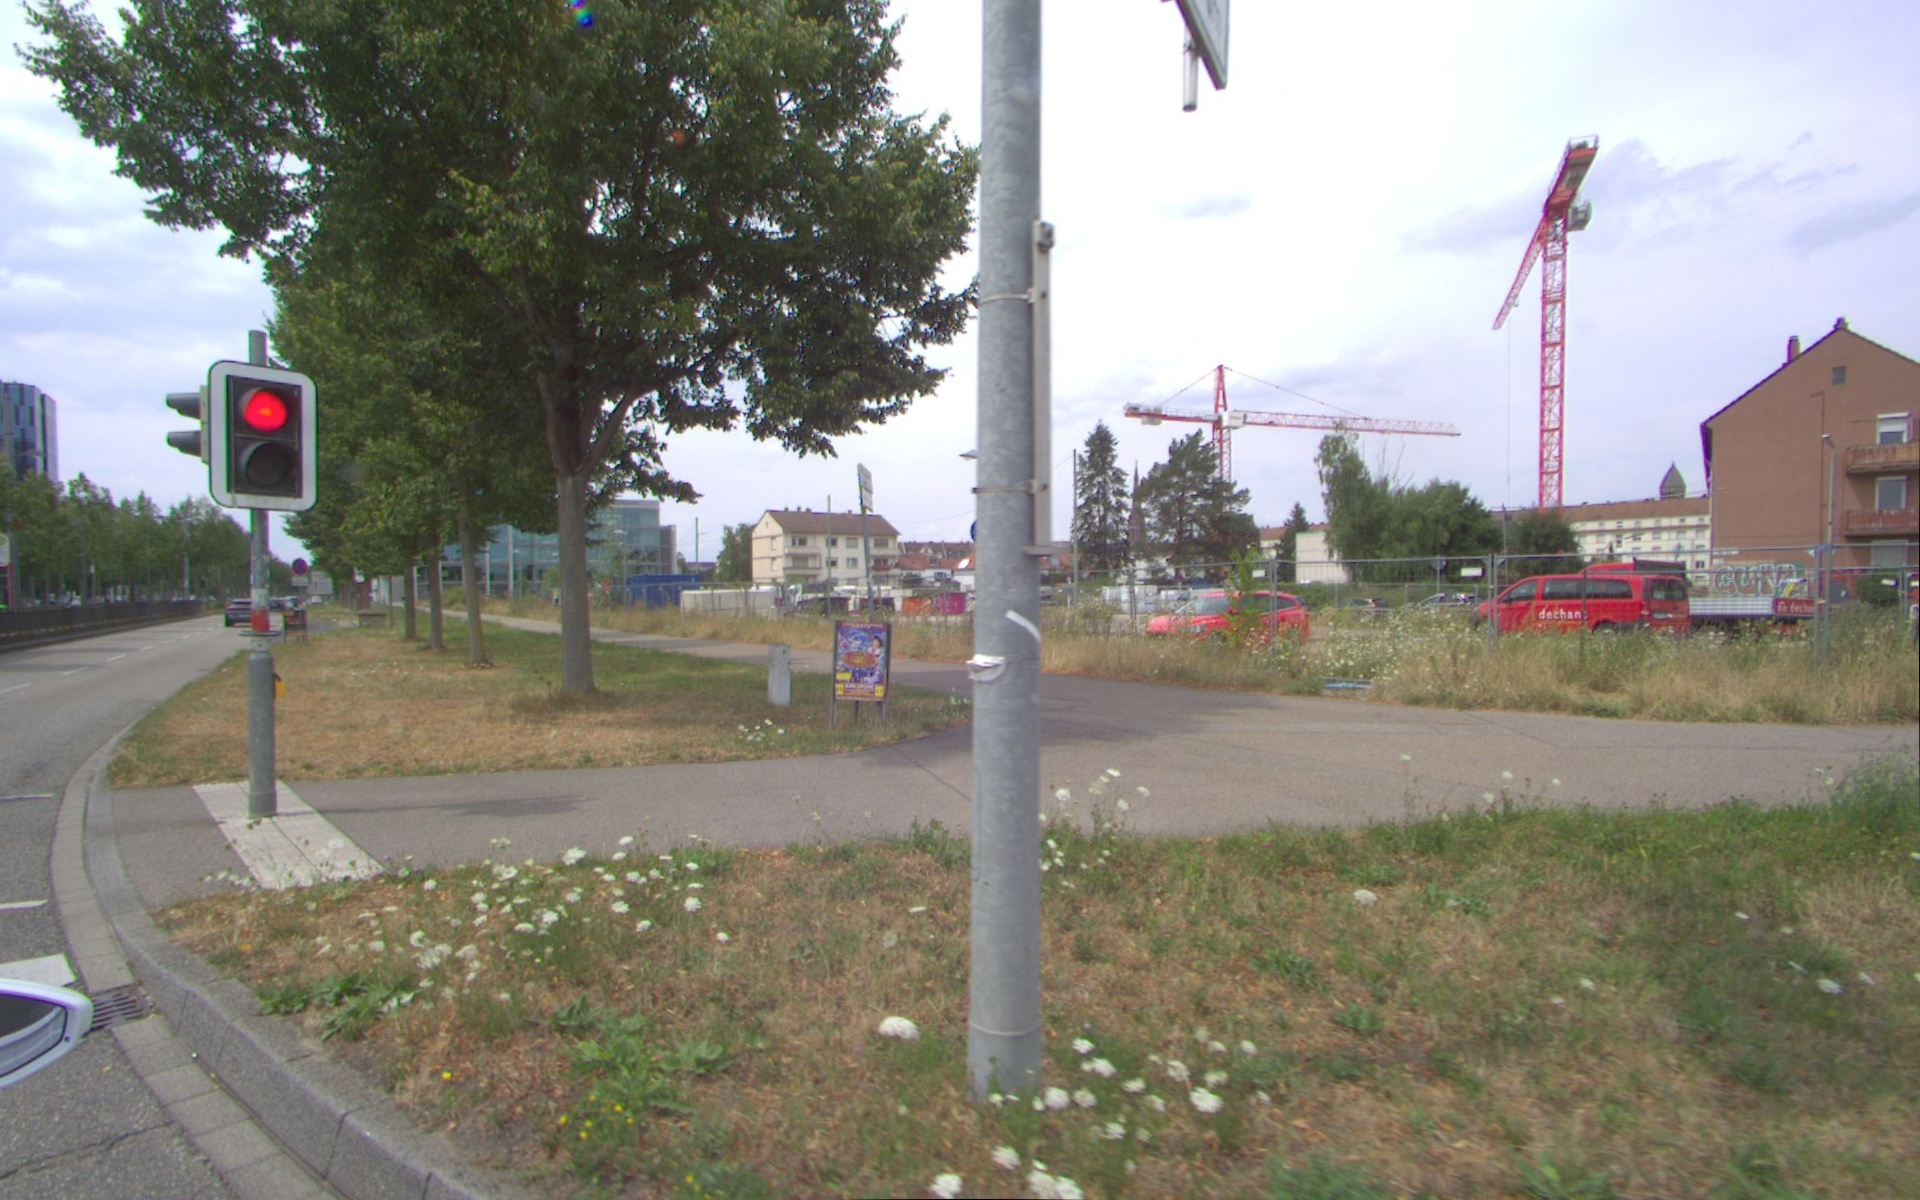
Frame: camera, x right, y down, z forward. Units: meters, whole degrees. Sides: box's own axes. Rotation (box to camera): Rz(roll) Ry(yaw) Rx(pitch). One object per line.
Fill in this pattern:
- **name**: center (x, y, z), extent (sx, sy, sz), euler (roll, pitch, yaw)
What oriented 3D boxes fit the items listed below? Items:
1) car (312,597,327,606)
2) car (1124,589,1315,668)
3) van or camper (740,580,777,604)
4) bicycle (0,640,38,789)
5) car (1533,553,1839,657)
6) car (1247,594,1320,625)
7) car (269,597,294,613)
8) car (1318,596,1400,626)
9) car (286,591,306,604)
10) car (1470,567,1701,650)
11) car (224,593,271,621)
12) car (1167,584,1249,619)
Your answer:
- **car**: center (-117.338, 0.318, 183.357), extent (1.971, 1.639, 4.727), euler (-1, 1, -29)
- **car**: center (5.767, 0.551, 21.972), extent (4.477, 1.553, 1.774), euler (-1, 1, -39)
- **van or camper**: center (-24.030, -0.961, 119.328), extent (2.323, 2.724, 5.205), euler (-1, 1, -37)
- **bicycle**: center (-8.713, 0.934, 7.925), extent (2.002, 1.184, 0.791), euler (0, 1, -4)
- **car**: center (19.186, 0.103, 27.026), extent (2.279, 2.445, 6.524), euler (-1, 1, -20)
- **car**: center (19.348, 0.561, 60.019), extent (1.831, 1.772, 3.990), euler (-1, 1, -31)
- **car**: center (-64.973, 0.452, 95.918), extent (1.717, 1.539, 4.122), euler (-1, 1, -31)
- **car**: center (22.193, 0.585, 55.818), extent (1.776, 1.624, 3.991), euler (-1, 1, -31)
- **car**: center (-77.637, -0.330, 117.076), extent (1.807, 1.482, 4.231), euler (-1, 0, -35)
- **car**: center (16.248, 0.224, 26.364), extent (1.905, 1.935, 4.973), euler (2, 0, -21)
- **car**: center (-41.574, 0.406, 58.486), extent (2.037, 1.572, 4.446), euler (0, 1, -33)
- **car**: center (15.939, 0.093, 64.510), extent (2.123, 2.165, 4.869), euler (-1, 1, -39)
